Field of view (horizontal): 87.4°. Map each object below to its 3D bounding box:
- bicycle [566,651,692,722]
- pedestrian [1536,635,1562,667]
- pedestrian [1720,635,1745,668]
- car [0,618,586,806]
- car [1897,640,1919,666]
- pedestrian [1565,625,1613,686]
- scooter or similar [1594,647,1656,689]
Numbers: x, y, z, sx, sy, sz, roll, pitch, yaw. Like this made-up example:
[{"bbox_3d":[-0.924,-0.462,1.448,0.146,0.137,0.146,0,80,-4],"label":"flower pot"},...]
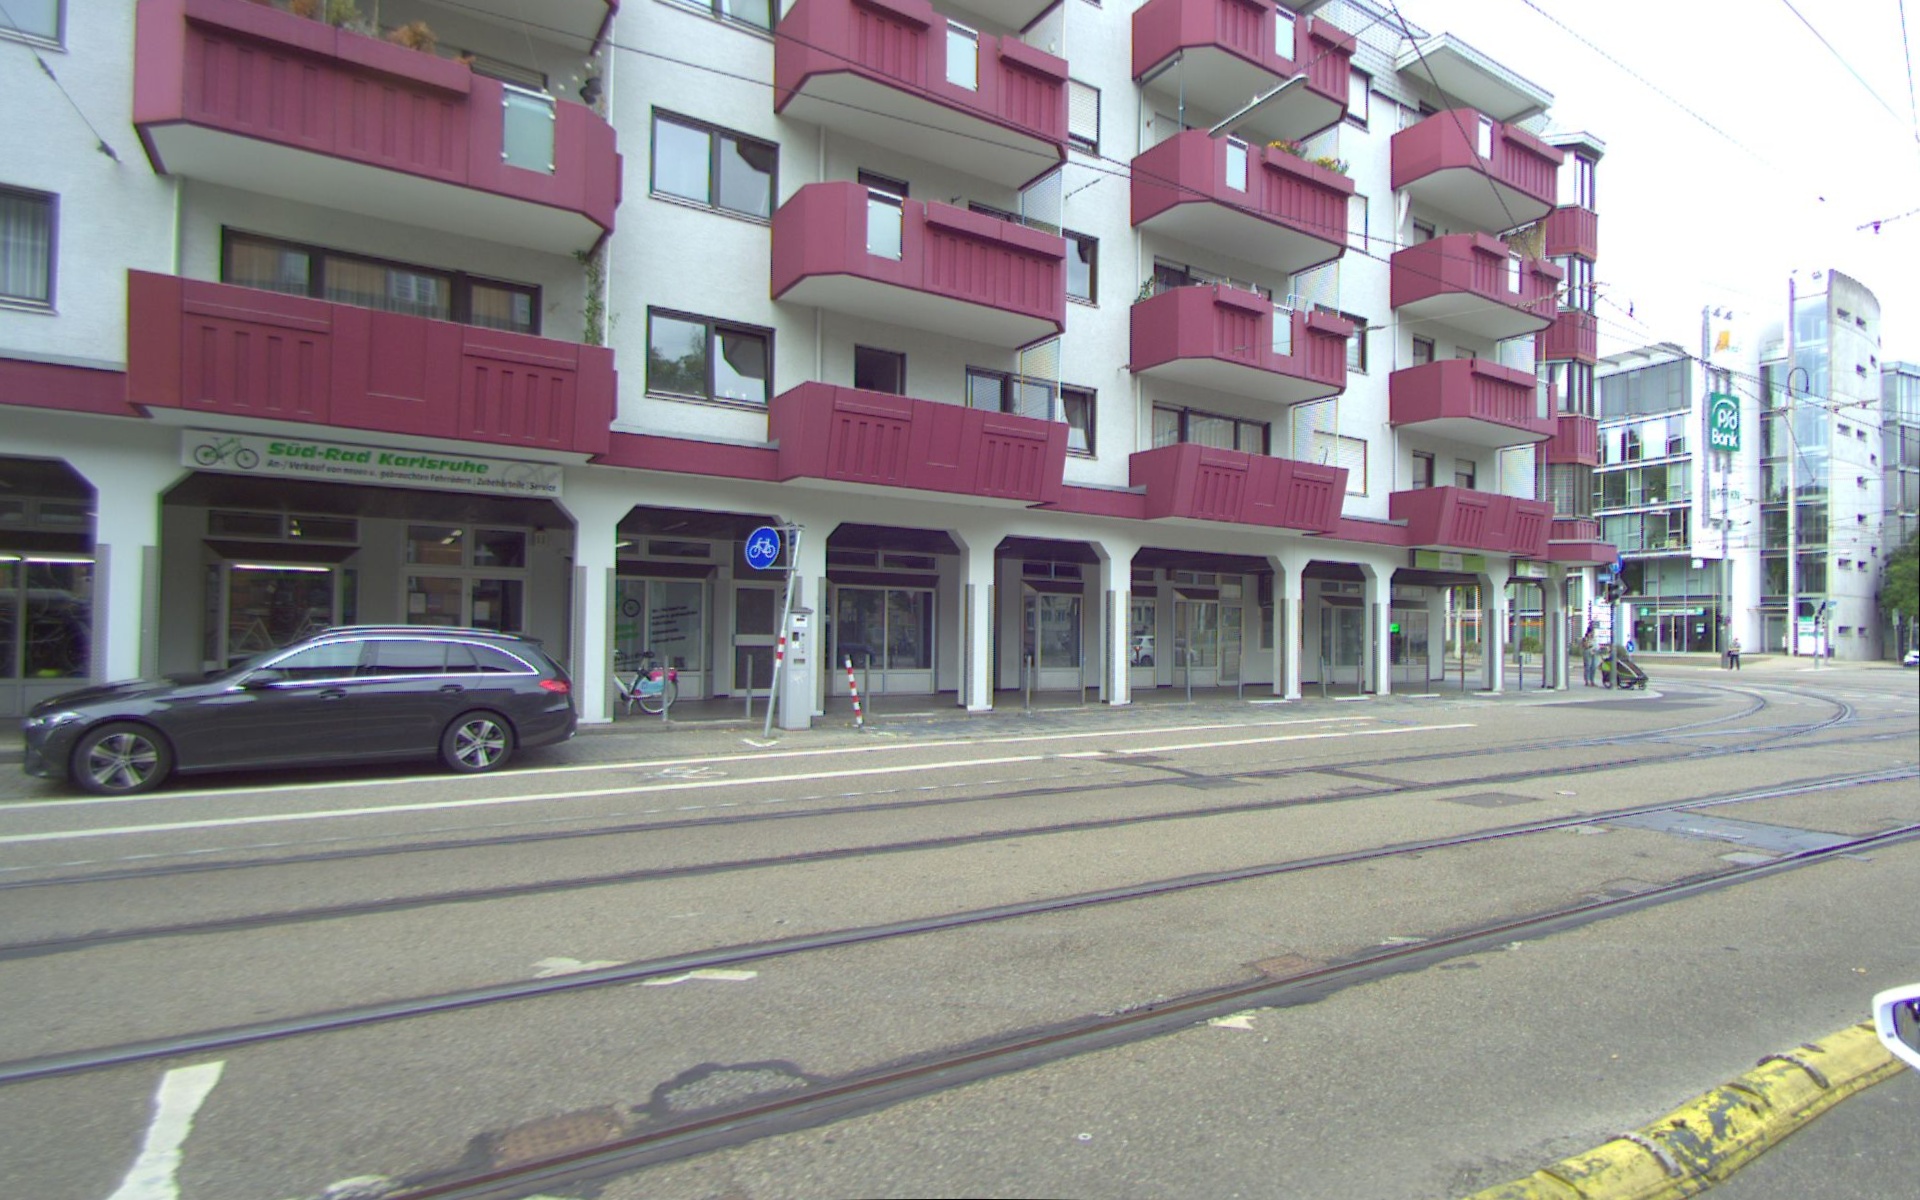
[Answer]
[{"bbox_3d":[-4.761,1.227,14.516,1.636,0.966,0.560,2,-2,-39],"label":"bicycle"},{"bbox_3d":[31.349,2.694,53.442,0.754,1.693,0.935,1,-2,-17],"label":"pedestrian"},{"bbox_3d":[44.576,2.986,57.959,0.754,1.889,0.833,1,-2,-18],"label":"pedestrian"},{"bbox_3d":[-6.426,1.002,10.238,4.646,1.499,1.745,2,0,-32],"label":"car"},{"bbox_3d":[62.211,3.417,64.346,4.161,1.577,1.823,2,0,-26],"label":"car"},{"bbox_3d":[18.525,1.619,29.585,0.804,1.766,0.942,2,-2,-33],"label":"pedestrian"},{"bbox_3d":[19.049,1.939,28.783,0.936,1.143,1.189,1,-1,-32],"label":"scooter or similar"}]
